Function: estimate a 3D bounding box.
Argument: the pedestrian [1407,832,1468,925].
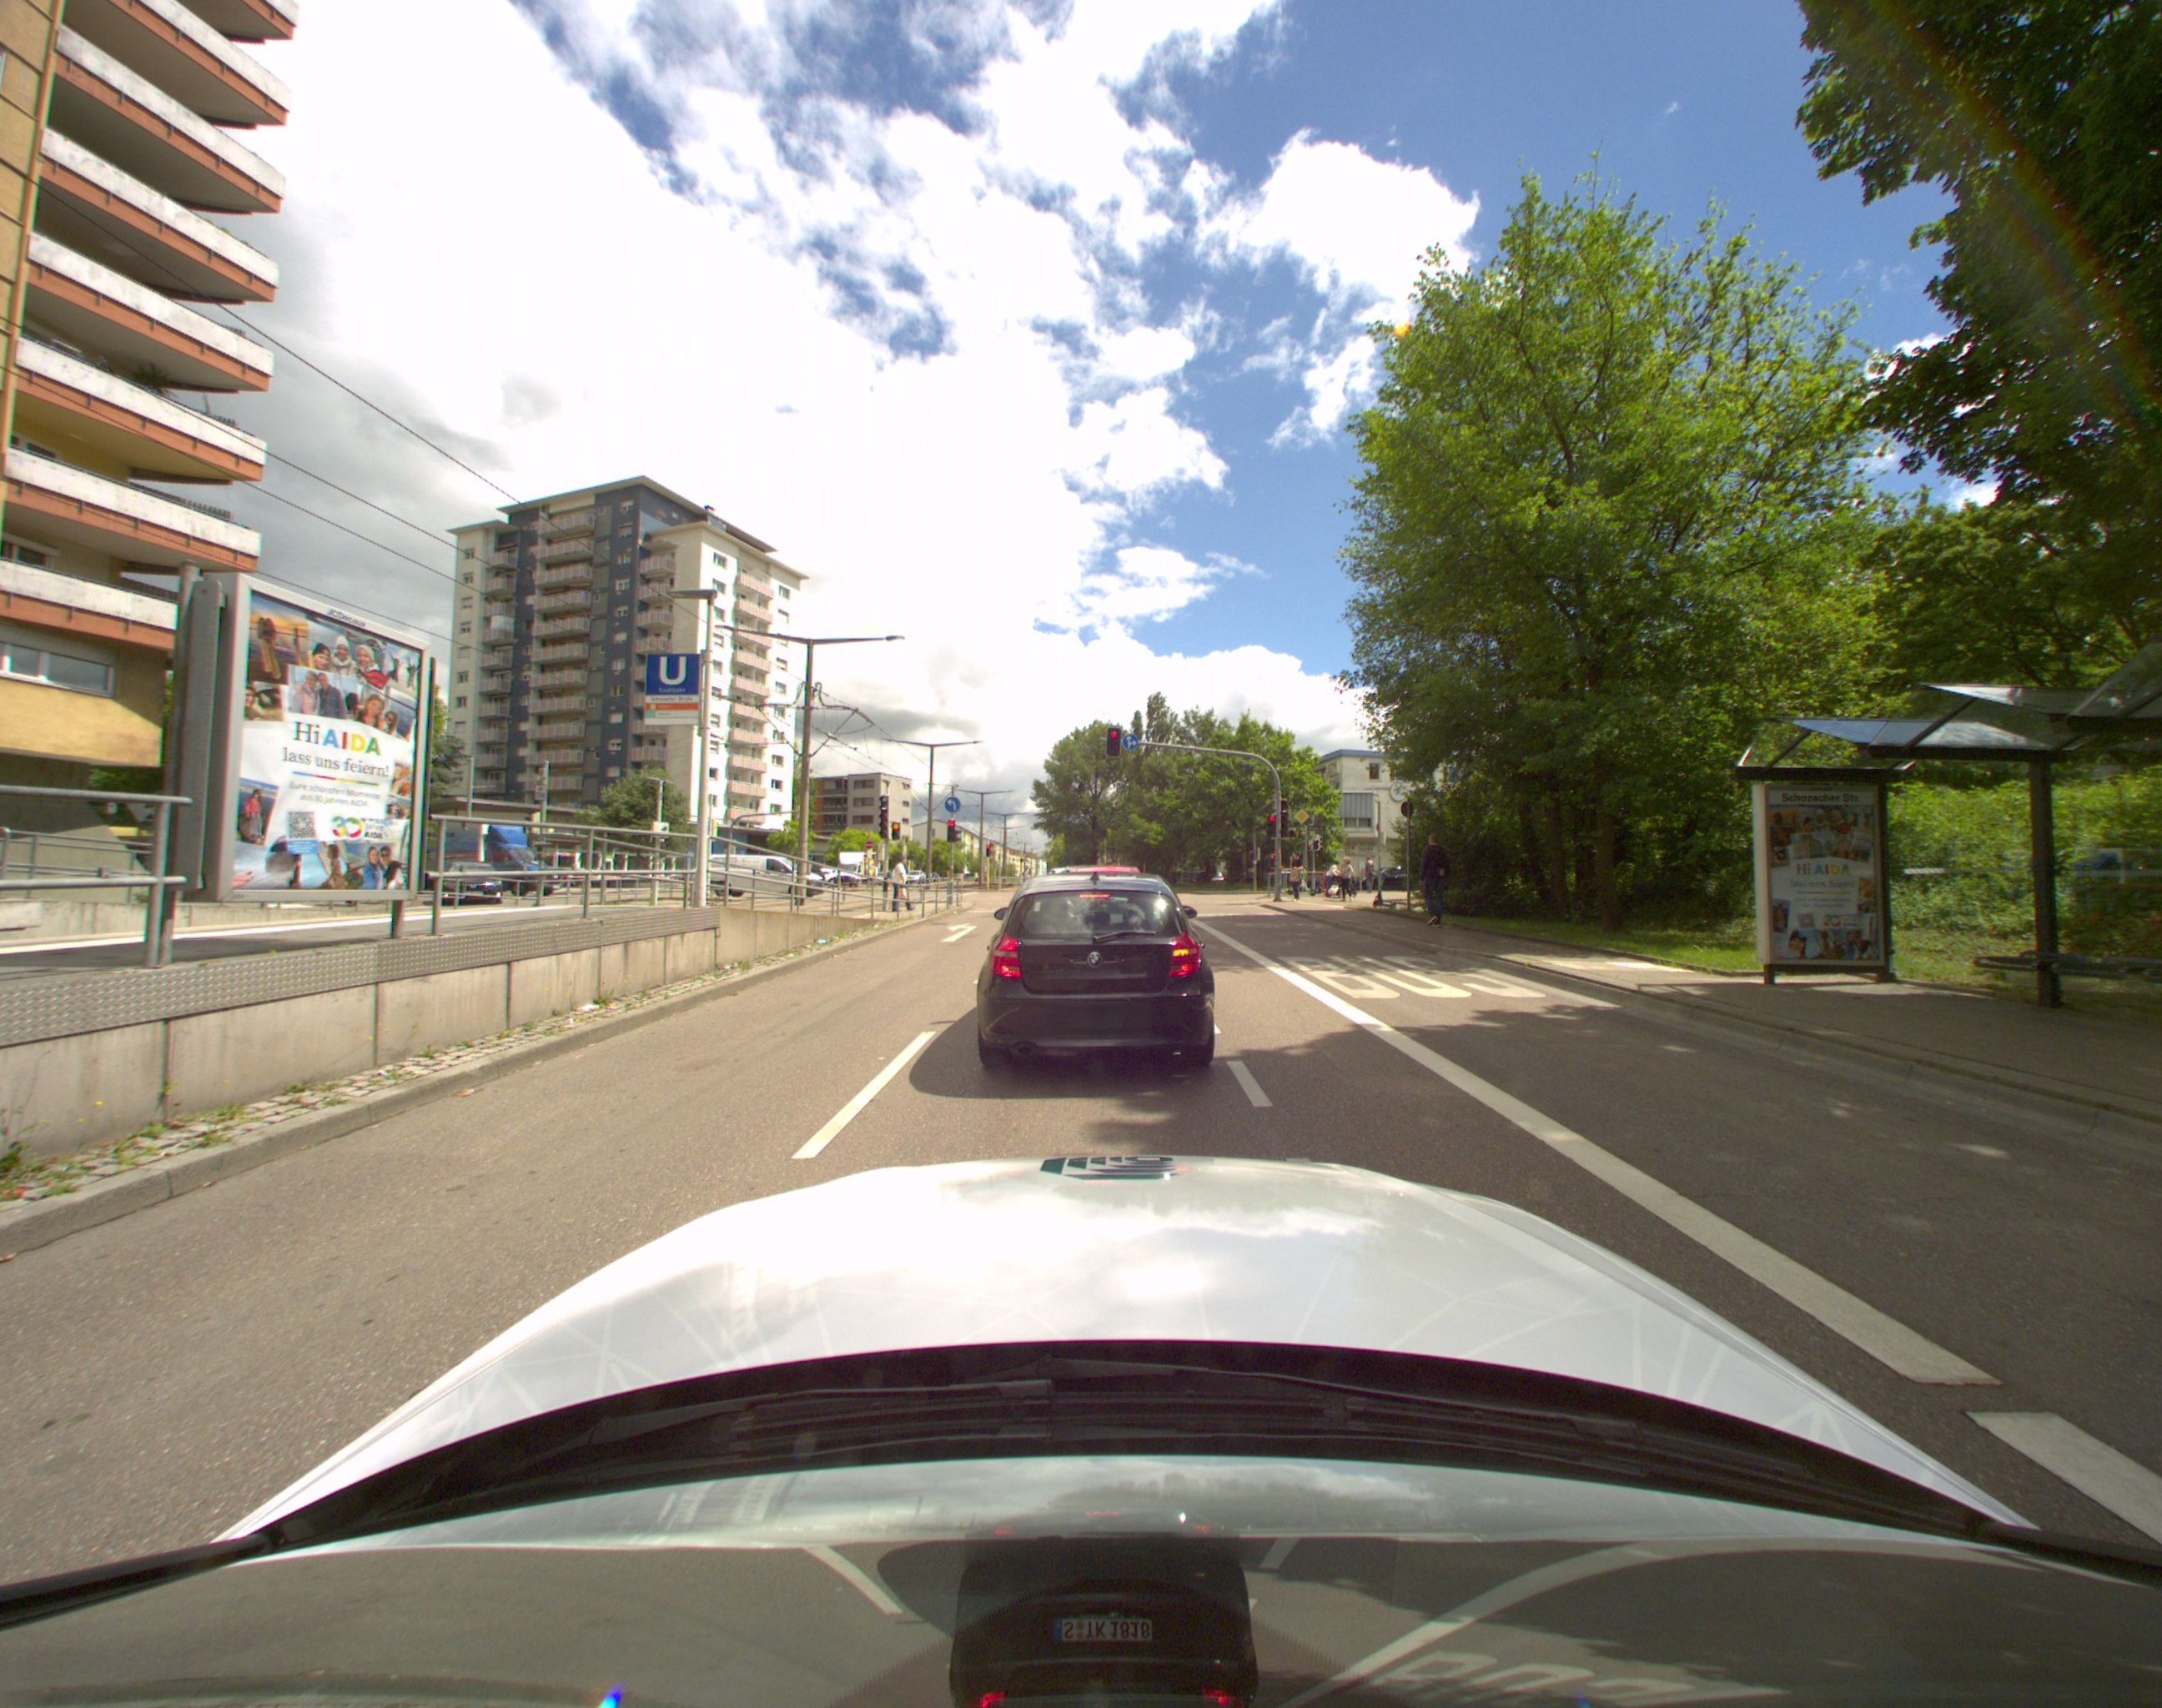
[{"bbox_3d":[7.419,0.502,16.979,0.793,1.876,1.013,-1,-1,-1],"label":"pedestrian"}]

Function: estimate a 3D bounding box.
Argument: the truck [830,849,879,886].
[{"bbox_3d":[-20.381,1.182,73.682,2.273,3.118,7.319,-1,-1,1],"label":"truck"}]

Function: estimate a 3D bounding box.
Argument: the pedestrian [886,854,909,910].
[{"bbox_3d":[-5.795,0.864,25.692,0.688,1.734,0.685,0,-1,-12],"label":"pedestrian"}]

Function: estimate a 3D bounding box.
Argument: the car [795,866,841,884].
[{"bbox_3d":[-25.569,2.005,79.284,3.896,1.647,1.657,-1,-1,2],"label":"car"}]

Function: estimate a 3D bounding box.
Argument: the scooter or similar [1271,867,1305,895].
[{"bbox_3d":[8.941,1.167,35.198,1.265,1.064,0.544,7,0,-29],"label":"scooter or similar"}]

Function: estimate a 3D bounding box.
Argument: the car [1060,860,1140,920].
[{"bbox_3d":[0.609,0.898,21.901,1.892,1.422,4.544,-1,-1,4],"label":"car"}]

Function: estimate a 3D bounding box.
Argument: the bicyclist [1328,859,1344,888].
[{"bbox_3d":[10.332,0.783,33.021,0.505,1.157,0.395,0,-1,-39],"label":"bicyclist"}]

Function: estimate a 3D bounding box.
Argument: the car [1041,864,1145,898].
[{"bbox_3d":[0.559,1.254,38.374,4.775,1.522,1.999,-1,-1,-1],"label":"car"}]

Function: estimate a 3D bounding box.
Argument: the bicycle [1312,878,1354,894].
[{"bbox_3d":[10.264,1.313,33.167,0.537,0.610,1.571,0,-1,-41],"label":"bicycle"}]

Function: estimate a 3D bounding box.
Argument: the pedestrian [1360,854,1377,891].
[{"bbox_3d":[13.234,0.841,37.470,0.461,1.713,0.656,0,-1,-13],"label":"pedestrian"}]

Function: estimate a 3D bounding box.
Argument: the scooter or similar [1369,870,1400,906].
[{"bbox_3d":[10.553,1.180,28.360,0.457,1.230,0.882,0,-1,-42],"label":"scooter or similar"}]

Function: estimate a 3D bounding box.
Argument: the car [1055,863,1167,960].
[{"bbox_3d":[0.544,0.872,13.751,1.631,1.400,3.423,-1,-1,3],"label":"car"}]

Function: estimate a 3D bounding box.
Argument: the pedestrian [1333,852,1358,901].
[{"bbox_3d":[10.122,0.874,31.144,0.633,1.766,0.519,8,-4,7],"label":"pedestrian"}]

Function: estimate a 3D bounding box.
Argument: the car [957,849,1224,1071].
[{"bbox_3d":[0.173,0.749,6.923,1.692,1.400,3.423,-1,-2,4],"label":"car"}]

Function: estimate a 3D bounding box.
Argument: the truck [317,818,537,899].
[{"bbox_3d":[-28.432,0.202,35.684,7.255,3.348,2.604,-1,-1,-4],"label":"truck"}]

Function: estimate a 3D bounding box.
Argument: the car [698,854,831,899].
[{"bbox_3d":[-14.072,0.980,36.434,5.161,1.893,1.997,-1,-1,-5],"label":"car"}]

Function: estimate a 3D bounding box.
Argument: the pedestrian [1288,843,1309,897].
[{"bbox_3d":[7.642,0.557,28.677,0.632,1.876,0.519,-1,-1,7],"label":"pedestrian"}]
